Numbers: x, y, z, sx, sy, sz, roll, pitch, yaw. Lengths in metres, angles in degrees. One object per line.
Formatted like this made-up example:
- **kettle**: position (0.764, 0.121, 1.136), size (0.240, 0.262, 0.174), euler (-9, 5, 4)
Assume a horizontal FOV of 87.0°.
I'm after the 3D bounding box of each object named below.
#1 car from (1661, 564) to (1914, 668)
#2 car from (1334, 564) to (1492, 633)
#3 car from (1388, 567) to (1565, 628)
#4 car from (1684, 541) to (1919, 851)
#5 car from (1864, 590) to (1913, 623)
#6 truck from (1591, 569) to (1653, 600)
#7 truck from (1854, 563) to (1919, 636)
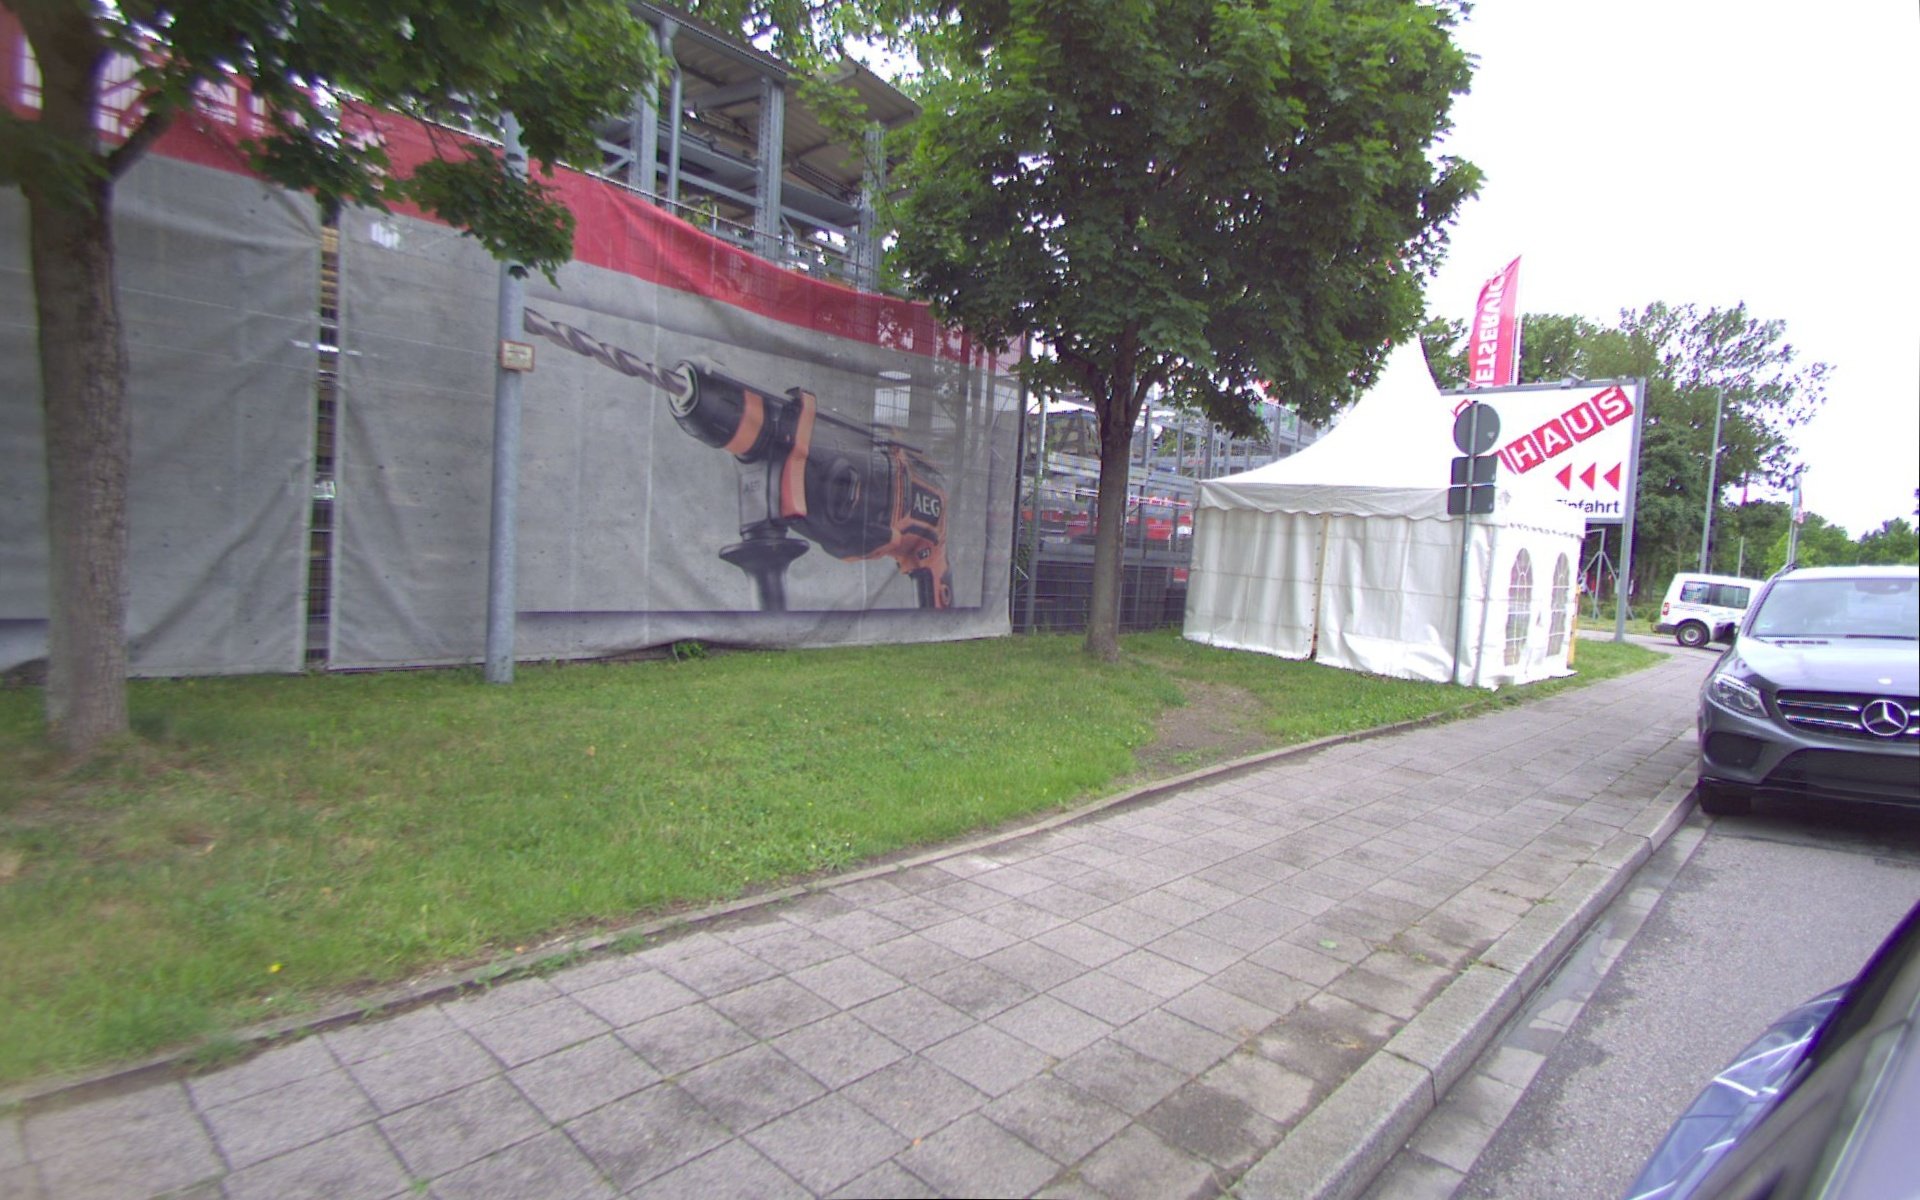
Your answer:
- **car**: position (19.490, 0.295, 24.031), size (4.371, 1.828, 1.773), euler (9, 6, 42)
- **car**: position (12.001, -0.074, 26.836), size (3.656, 1.603, 1.760), euler (3, 2, 28)
- **car**: position (14.536, -0.115, 28.614), size (4.105, 1.438, 1.703), euler (5, 4, 44)
- **car**: position (6.867, 0.536, 7.463), size (1.908, 1.762, 4.410), euler (2, 1, 43)
- **car**: position (55.437, 0.366, 60.392), size (1.995, 1.771, 3.937), euler (6, 4, 43)
- **truck**: position (57.567, -1.349, 88.032), size (3.919, 2.425, 2.004), euler (3, 3, -7)
- **truck**: position (35.183, -0.045, 38.379), size (1.847, 2.645, 3.939), euler (1, 1, 42)
